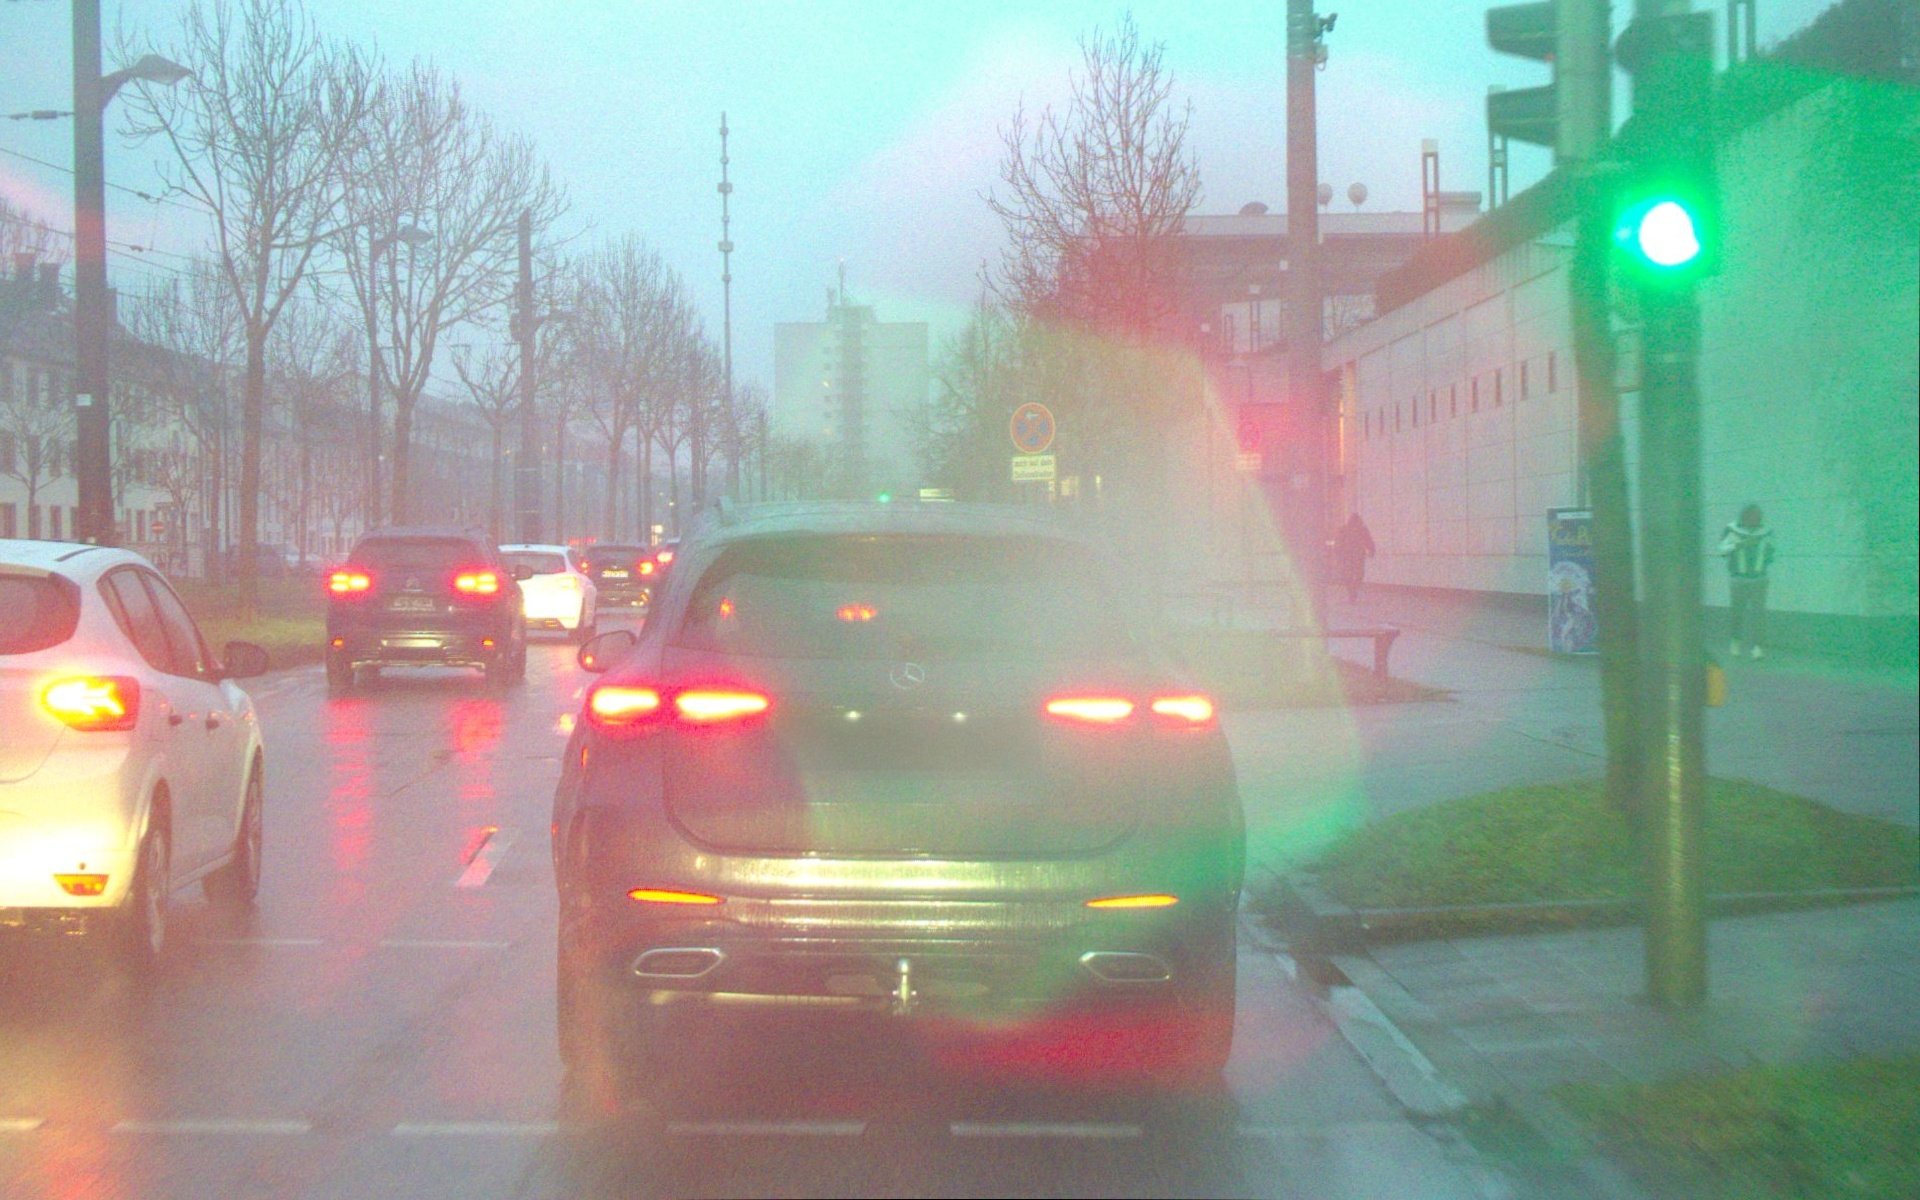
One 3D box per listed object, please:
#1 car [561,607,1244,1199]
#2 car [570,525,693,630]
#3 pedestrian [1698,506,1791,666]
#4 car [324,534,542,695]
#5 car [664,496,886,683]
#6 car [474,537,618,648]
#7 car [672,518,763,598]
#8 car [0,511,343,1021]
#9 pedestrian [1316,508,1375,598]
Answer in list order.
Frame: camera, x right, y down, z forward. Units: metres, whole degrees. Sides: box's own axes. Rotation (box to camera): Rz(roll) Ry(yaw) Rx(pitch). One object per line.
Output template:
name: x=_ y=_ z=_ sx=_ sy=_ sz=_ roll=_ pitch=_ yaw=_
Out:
car: x=-0.143 y=0.854 z=10.459 sx=1.672 sy=1.594 sz=4.054 roll=0 pitch=1 yaw=0
car: x=-6.578 y=-0.445 z=69.237 sx=1.993 sy=2.007 sz=4.000 roll=1 pitch=0 yaw=1
pedestrian: x=8.025 y=-0.151 z=35.183 sx=0.621 sy=1.605 sz=1.067 roll=-1 pitch=1 yaw=-4
car: x=-5.479 y=0.109 z=36.175 sx=1.672 sy=1.594 sz=4.054 roll=0 pitch=1 yaw=0
car: x=-1.796 y=-0.131 z=34.606 sx=1.993 sy=1.738 sz=4.000 roll=-1 pitch=1 yaw=0
car: x=-6.165 y=-0.140 z=51.582 sx=1.672 sy=1.594 sz=4.054 roll=0 pitch=1 yaw=0
car: x=-6.284 y=-1.071 z=89.309 sx=1.993 sy=2.007 sz=4.000 roll=1 pitch=0 yaw=1
car: x=-3.490 y=0.486 z=12.770 sx=1.672 sy=1.594 sz=4.054 roll=0 pitch=1 yaw=0
pedestrian: x=7.033 y=-0.854 z=62.739 sx=0.937 sy=1.612 sz=0.695 roll=-1 pitch=1 yaw=-3
